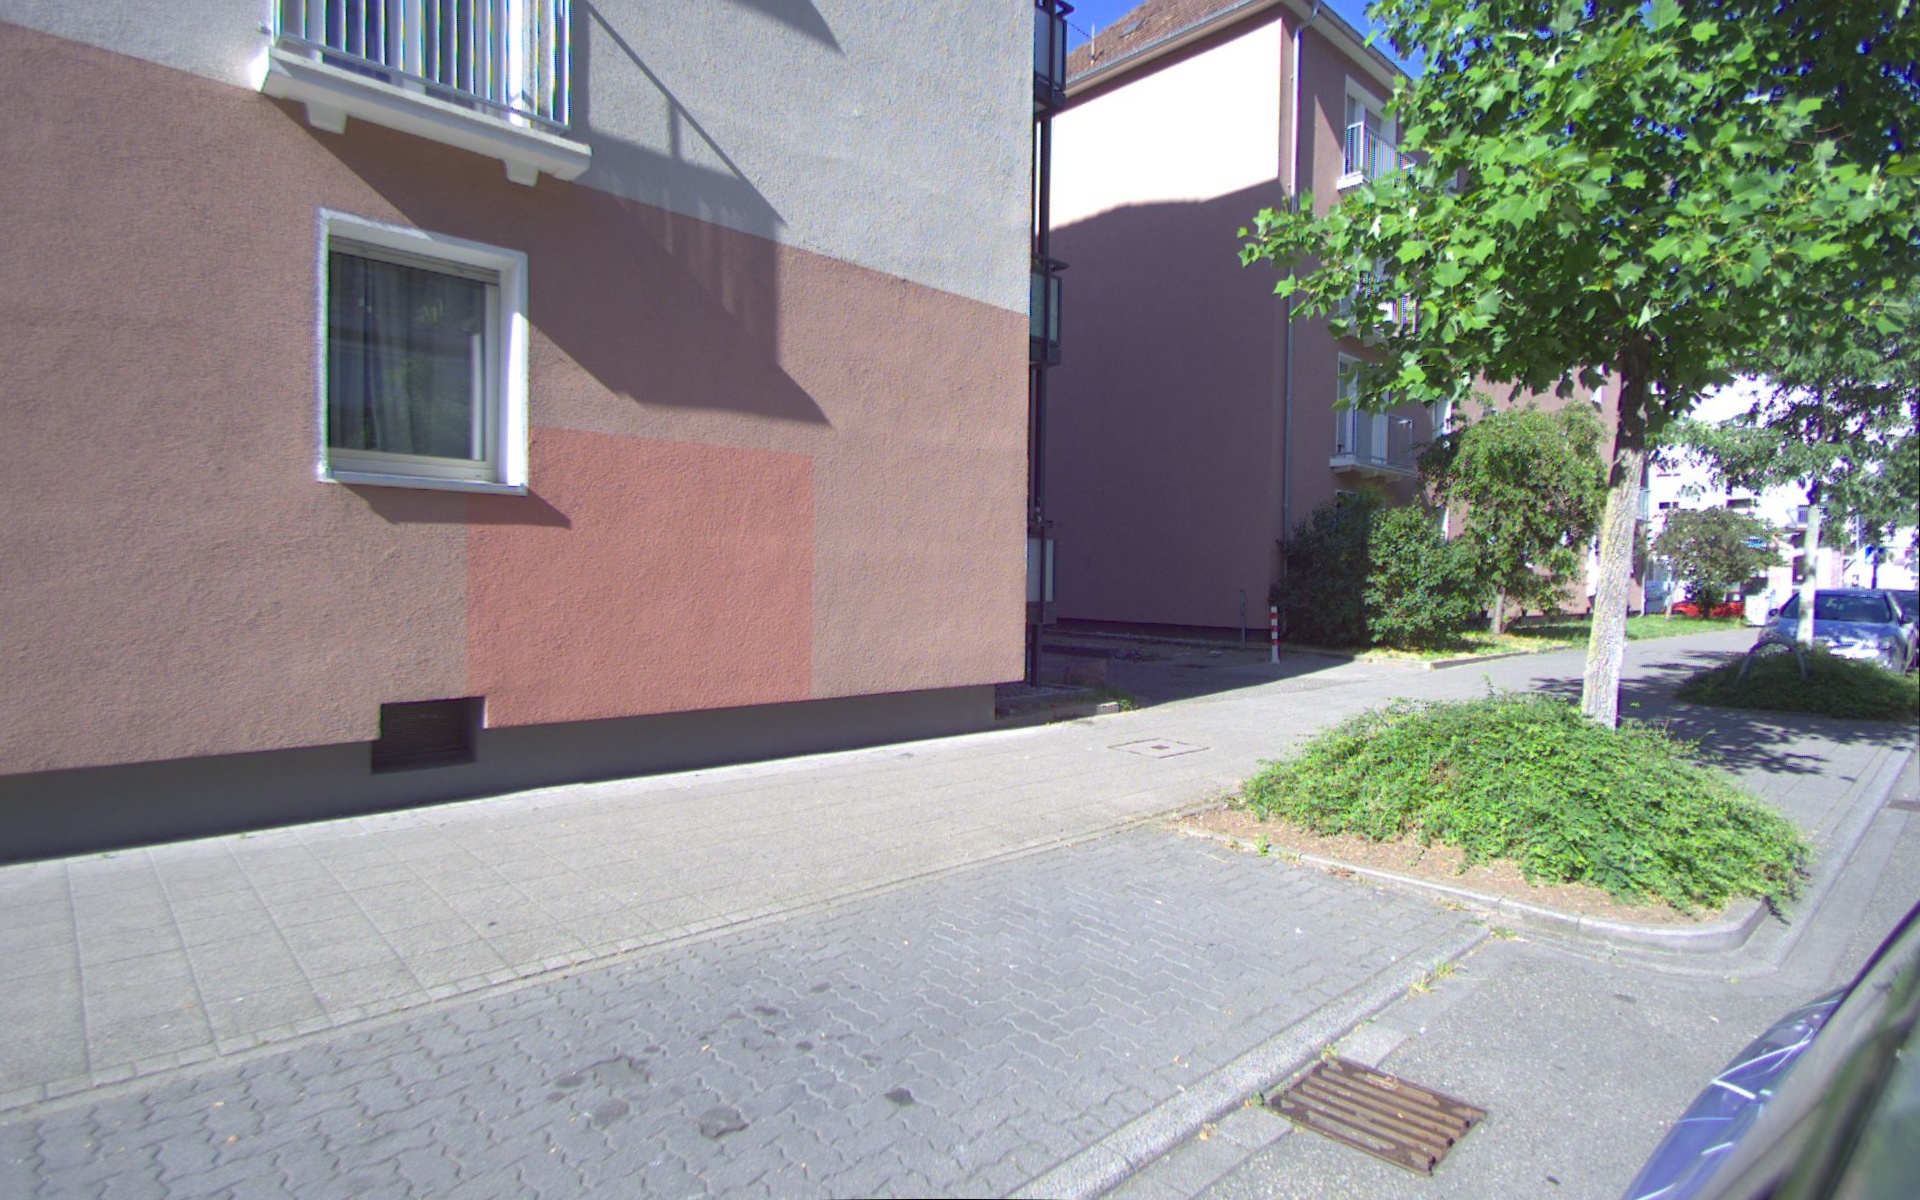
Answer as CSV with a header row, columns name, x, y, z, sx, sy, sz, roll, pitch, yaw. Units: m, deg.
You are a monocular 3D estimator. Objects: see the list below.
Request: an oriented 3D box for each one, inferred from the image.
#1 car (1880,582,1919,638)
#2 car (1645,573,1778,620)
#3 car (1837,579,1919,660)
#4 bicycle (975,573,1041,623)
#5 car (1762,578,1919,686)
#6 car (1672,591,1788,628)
name,x,y,z,sx,sy,sz,roll,pitch,yaw
car,26.592,0.254,27.707,3.932,1.446,1.734,-1,2,-43
car,34.777,-0.222,46.923,4.742,2.039,1.969,2,2,43
car,19.212,0.334,20.562,4.239,1.500,1.660,-1,2,-43
bicycle,1.115,-0.063,23.695,0.584,1.112,1.537,0,2,-44
car,14.506,0.418,16.439,3.933,1.471,1.718,-2,3,-43
car,32.020,0.357,42.159,1.542,1.419,3.644,0,2,-43
